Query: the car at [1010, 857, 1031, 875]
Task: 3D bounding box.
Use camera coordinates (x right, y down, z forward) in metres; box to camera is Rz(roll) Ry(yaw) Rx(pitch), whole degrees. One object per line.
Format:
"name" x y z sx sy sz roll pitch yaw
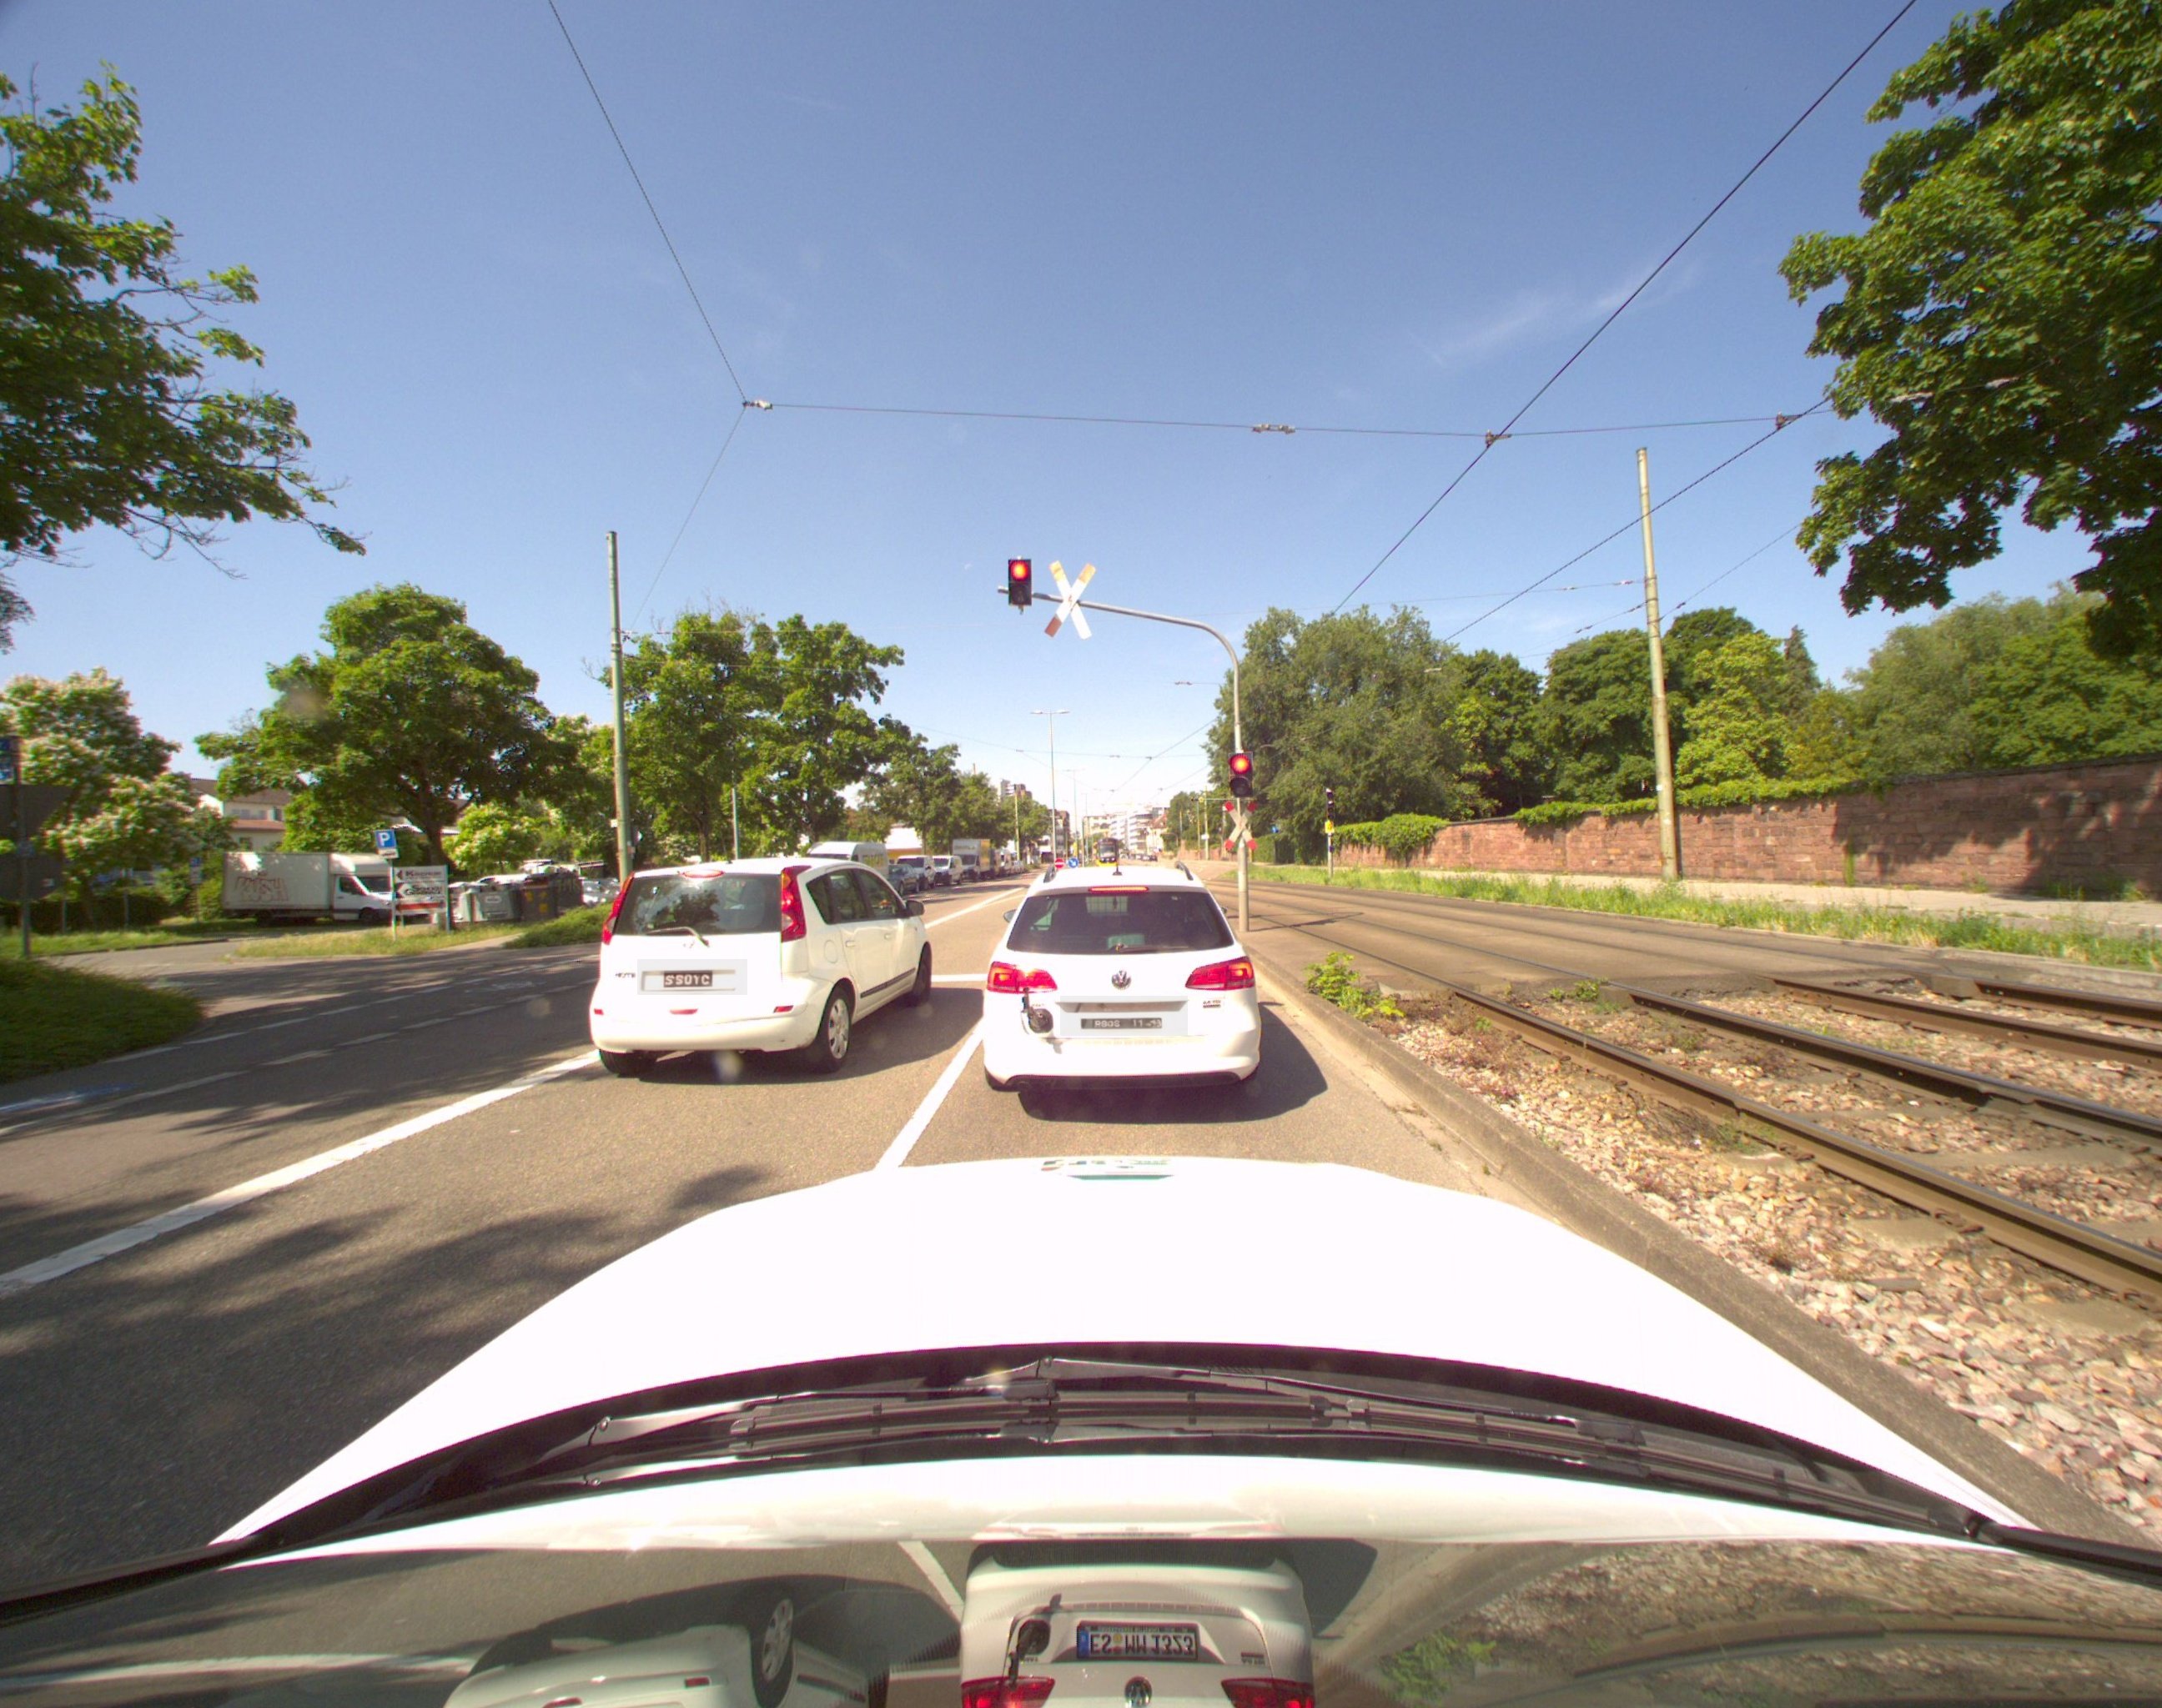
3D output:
"car" -6.772 1.318 92.032 1.856 1.868 5.415 0 0 1

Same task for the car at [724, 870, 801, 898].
"car" -19.459 1.826 49.885 3.977 1.415 1.729 -4 -1 -3

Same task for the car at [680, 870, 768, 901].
"car" -19.535 1.727 44.735 3.977 1.415 1.729 -4 -1 -3

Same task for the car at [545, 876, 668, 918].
"car" -19.664 1.773 33.865 3.977 1.415 1.729 -4 -1 -3

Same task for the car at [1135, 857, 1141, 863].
"car" 18.334 1.875 261.232 1.857 1.868 5.063 0 0 1

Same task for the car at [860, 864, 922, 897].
"car" -9.066 1.227 39.111 1.856 1.415 4.281 0 0 1

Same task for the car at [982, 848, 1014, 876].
"car" -7.716 0.683 76.124 2.114 2.516 5.737 0 0 2

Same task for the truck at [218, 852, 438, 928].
"truck" -32.366 1.502 35.211 6.978 3.110 2.677 0 0 0

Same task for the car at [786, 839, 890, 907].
"car" -9.596 0.691 32.801 2.114 2.516 5.822 0 0 3

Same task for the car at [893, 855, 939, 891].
"car" -9.191 0.996 45.693 1.859 1.868 5.068 0 0 -4

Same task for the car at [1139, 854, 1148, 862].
"car" 14.528 0.982 188.750 1.857 1.868 5.063 0 0 1

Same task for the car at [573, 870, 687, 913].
"car" -19.913 1.633 36.072 3.977 1.610 1.729 -4 -1 -3

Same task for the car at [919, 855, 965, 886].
"car" -8.867 1.017 52.274 1.856 1.868 5.415 0 0 1

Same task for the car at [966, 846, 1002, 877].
"car" -8.145 0.623 68.693 2.114 2.516 5.737 0 0 2

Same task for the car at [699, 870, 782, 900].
"car" -19.605 1.772 47.069 3.977 1.415 1.729 -4 -1 -3

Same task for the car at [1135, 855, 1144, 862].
"car" 14.687 1.080 203.845 1.857 1.868 5.063 0 0 1

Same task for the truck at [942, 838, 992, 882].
"truck" -8.402 0.418 60.695 2.411 3.150 7.001 0 0 2

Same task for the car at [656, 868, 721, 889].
"car" -35.158 2.202 72.979 4.780 1.787 2.062 0 -1 -3

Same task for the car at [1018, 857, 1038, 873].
"car" -6.390 1.280 98.944 1.856 1.868 5.415 0 0 1

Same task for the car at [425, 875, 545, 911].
"car" -31.765 2.053 43.530 4.780 1.787 2.062 0 -1 -3

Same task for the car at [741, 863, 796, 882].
"car" -31.772 1.868 82.782 4.780 1.787 2.062 0 -1 -3

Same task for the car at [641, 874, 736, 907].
"car" -20.285 1.874 42.219 3.977 1.415 1.729 -4 -1 -3

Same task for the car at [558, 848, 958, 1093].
"car" -2.433 0.753 7.523 1.655 1.547 4.550 -1 0 3

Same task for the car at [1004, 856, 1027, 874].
"car" -6.822 1.101 85.215 1.856 1.868 5.415 0 0 1

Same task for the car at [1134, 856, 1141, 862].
"car" 16.830 1.476 243.295 1.857 1.868 5.063 0 0 1

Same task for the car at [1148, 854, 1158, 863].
"car" 15.195 0.926 172.579 1.857 1.868 5.063 0 0 1

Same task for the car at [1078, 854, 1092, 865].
"car" 0.581 0.766 112.755 1.698 1.473 4.593 -3 0 3

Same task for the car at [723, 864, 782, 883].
"car" -31.472 1.827 78.025 4.780 1.787 2.062 0 -1 -3

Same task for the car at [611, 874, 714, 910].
"car" -20.292 1.810 39.608 3.977 1.415 1.729 -4 -1 -3

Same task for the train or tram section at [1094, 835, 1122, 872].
"train or tram section" 3.090 -0.018 93.812 2.860 3.855 12.396 -3 0 2

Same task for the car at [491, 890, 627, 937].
"car" -19.896 2.239 31.172 3.977 1.415 1.729 -4 -1 -3

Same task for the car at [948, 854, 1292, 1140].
"car" 0.268 0.759 6.316 1.756 1.430 4.002 -3 0 2

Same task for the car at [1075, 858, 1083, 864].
"car" -0.511 1.640 197.176 1.701 1.473 4.586 -3 0 -1
